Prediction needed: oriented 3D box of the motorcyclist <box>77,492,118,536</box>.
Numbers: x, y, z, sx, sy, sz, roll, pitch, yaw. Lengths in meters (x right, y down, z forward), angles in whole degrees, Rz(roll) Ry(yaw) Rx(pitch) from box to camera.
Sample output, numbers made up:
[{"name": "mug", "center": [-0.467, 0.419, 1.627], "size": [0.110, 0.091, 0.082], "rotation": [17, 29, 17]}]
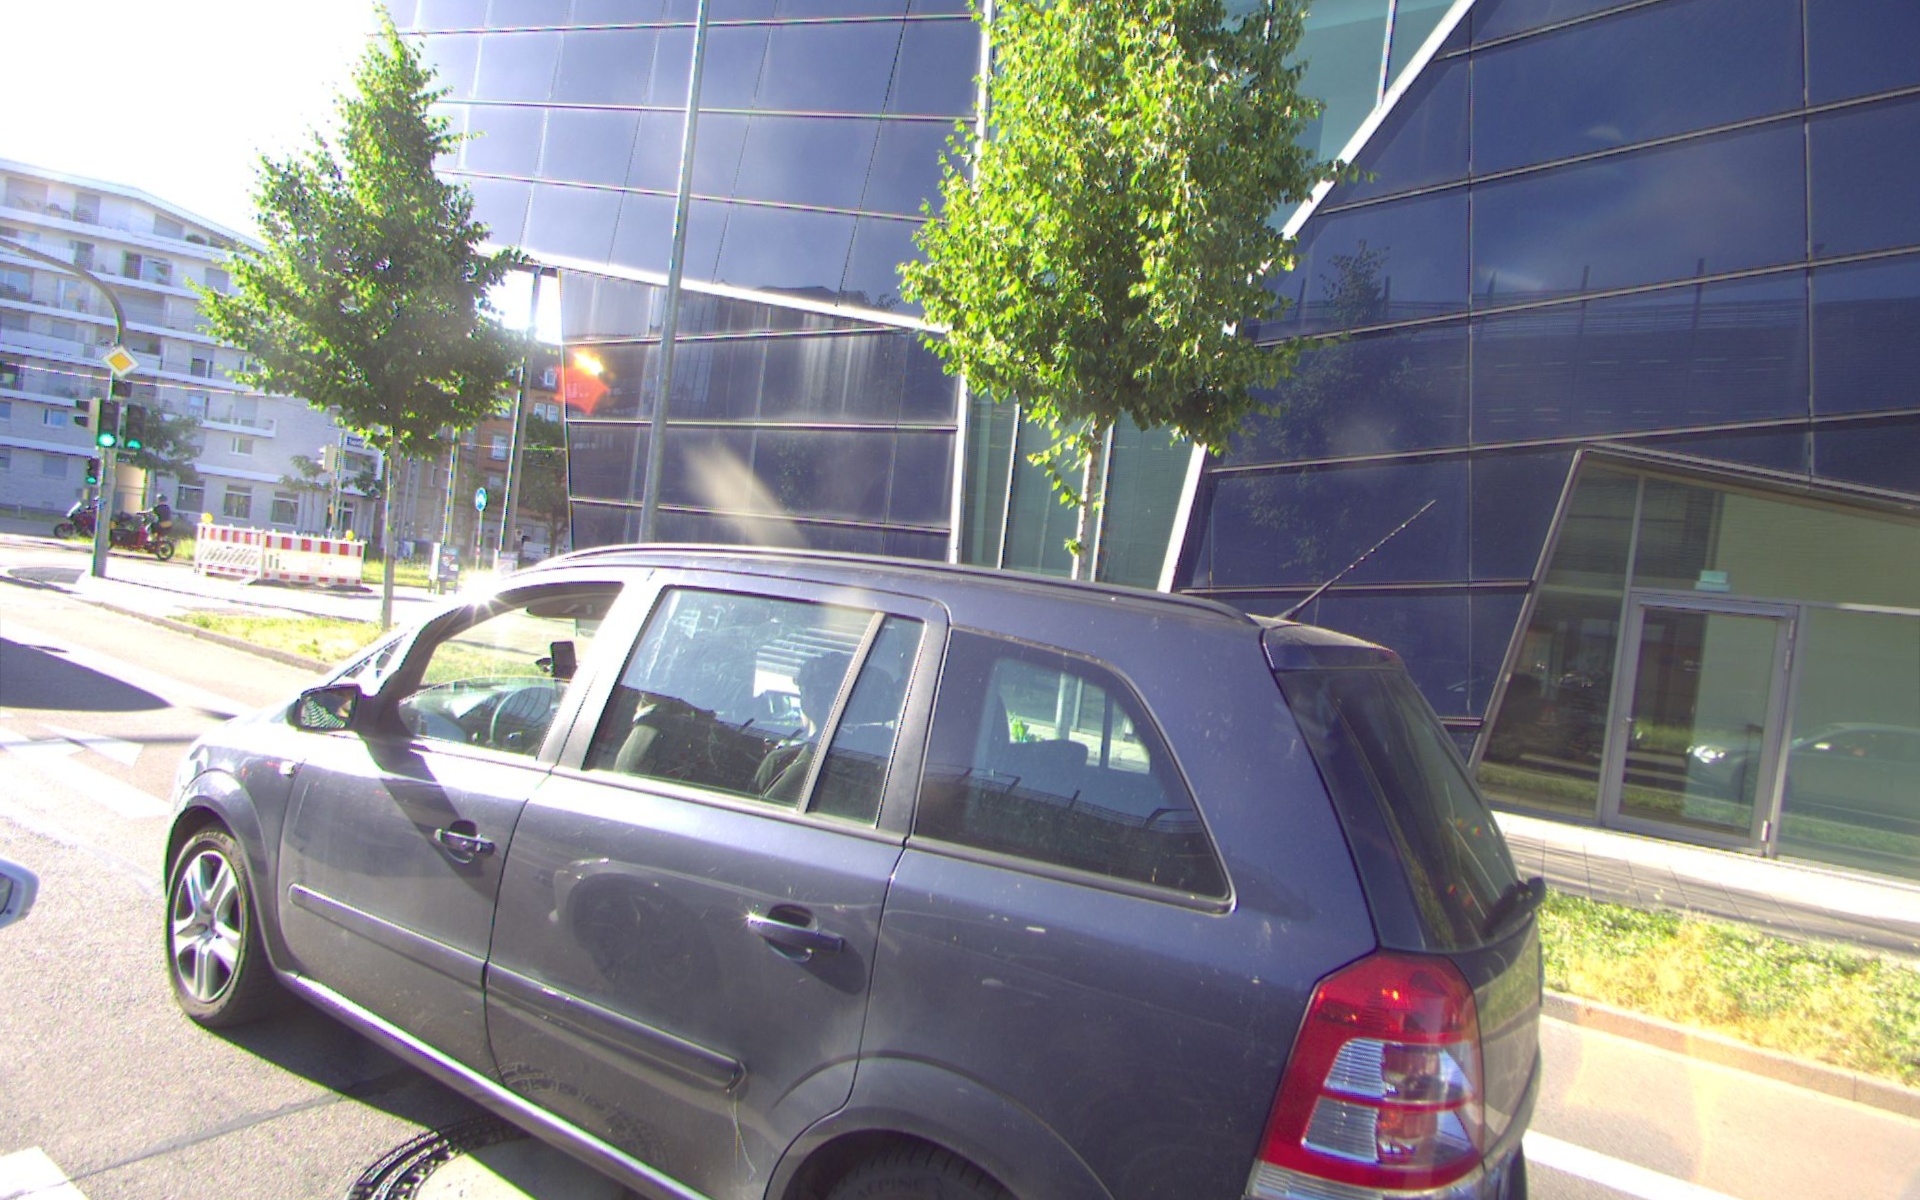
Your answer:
[{"name": "motorcyclist", "center": [-32.594, -3.256, 38.017], "size": [1.155, 1.500, 0.923], "rotation": [7, 1, 41]}]

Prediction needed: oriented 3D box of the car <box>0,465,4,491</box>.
[{"name": "car", "center": [-11.520, -0.756, 9.674], "size": [4.296, 1.735, 2.008], "rotation": [7, -1, 28]}]

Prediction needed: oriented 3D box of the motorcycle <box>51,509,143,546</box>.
[{"name": "motorcycle", "center": [-32.632, -2.733, 38.069], "size": [1.155, 1.013, 2.449], "rotation": [7, 0, 41]}]

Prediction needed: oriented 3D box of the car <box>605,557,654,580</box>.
[{"name": "car", "center": [-27.304, -2.592, 83.063], "size": [3.944, 1.505, 1.990], "rotation": [6, 0, 41]}]

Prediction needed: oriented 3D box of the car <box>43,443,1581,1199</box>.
[{"name": "car", "center": [-0.711, 0.629, 3.061], "size": [4.188, 1.715, 1.750], "rotation": [7, -2, 30]}]

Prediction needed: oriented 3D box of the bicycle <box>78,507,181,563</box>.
[{"name": "bicycle", "center": [-23.298, -1.804, 28.247], "size": [2.046, 1.278, 0.767], "rotation": [7, 1, -8]}]

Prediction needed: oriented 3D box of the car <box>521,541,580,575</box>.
[{"name": "car", "center": [-35.975, -3.657, 88.437], "size": [4.542, 2.339, 1.989], "rotation": [7, 0, -23]}]

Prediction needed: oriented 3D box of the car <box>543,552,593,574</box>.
[{"name": "car", "center": [-31.349, -2.984, 80.391], "size": [3.944, 1.371, 1.990], "rotation": [6, 0, 41]}]

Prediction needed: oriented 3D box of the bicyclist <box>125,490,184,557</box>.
[{"name": "bicyclist", "center": [-22.675, -2.135, 28.337], "size": [0.914, 1.728, 0.767], "rotation": [7, 1, -8]}]
